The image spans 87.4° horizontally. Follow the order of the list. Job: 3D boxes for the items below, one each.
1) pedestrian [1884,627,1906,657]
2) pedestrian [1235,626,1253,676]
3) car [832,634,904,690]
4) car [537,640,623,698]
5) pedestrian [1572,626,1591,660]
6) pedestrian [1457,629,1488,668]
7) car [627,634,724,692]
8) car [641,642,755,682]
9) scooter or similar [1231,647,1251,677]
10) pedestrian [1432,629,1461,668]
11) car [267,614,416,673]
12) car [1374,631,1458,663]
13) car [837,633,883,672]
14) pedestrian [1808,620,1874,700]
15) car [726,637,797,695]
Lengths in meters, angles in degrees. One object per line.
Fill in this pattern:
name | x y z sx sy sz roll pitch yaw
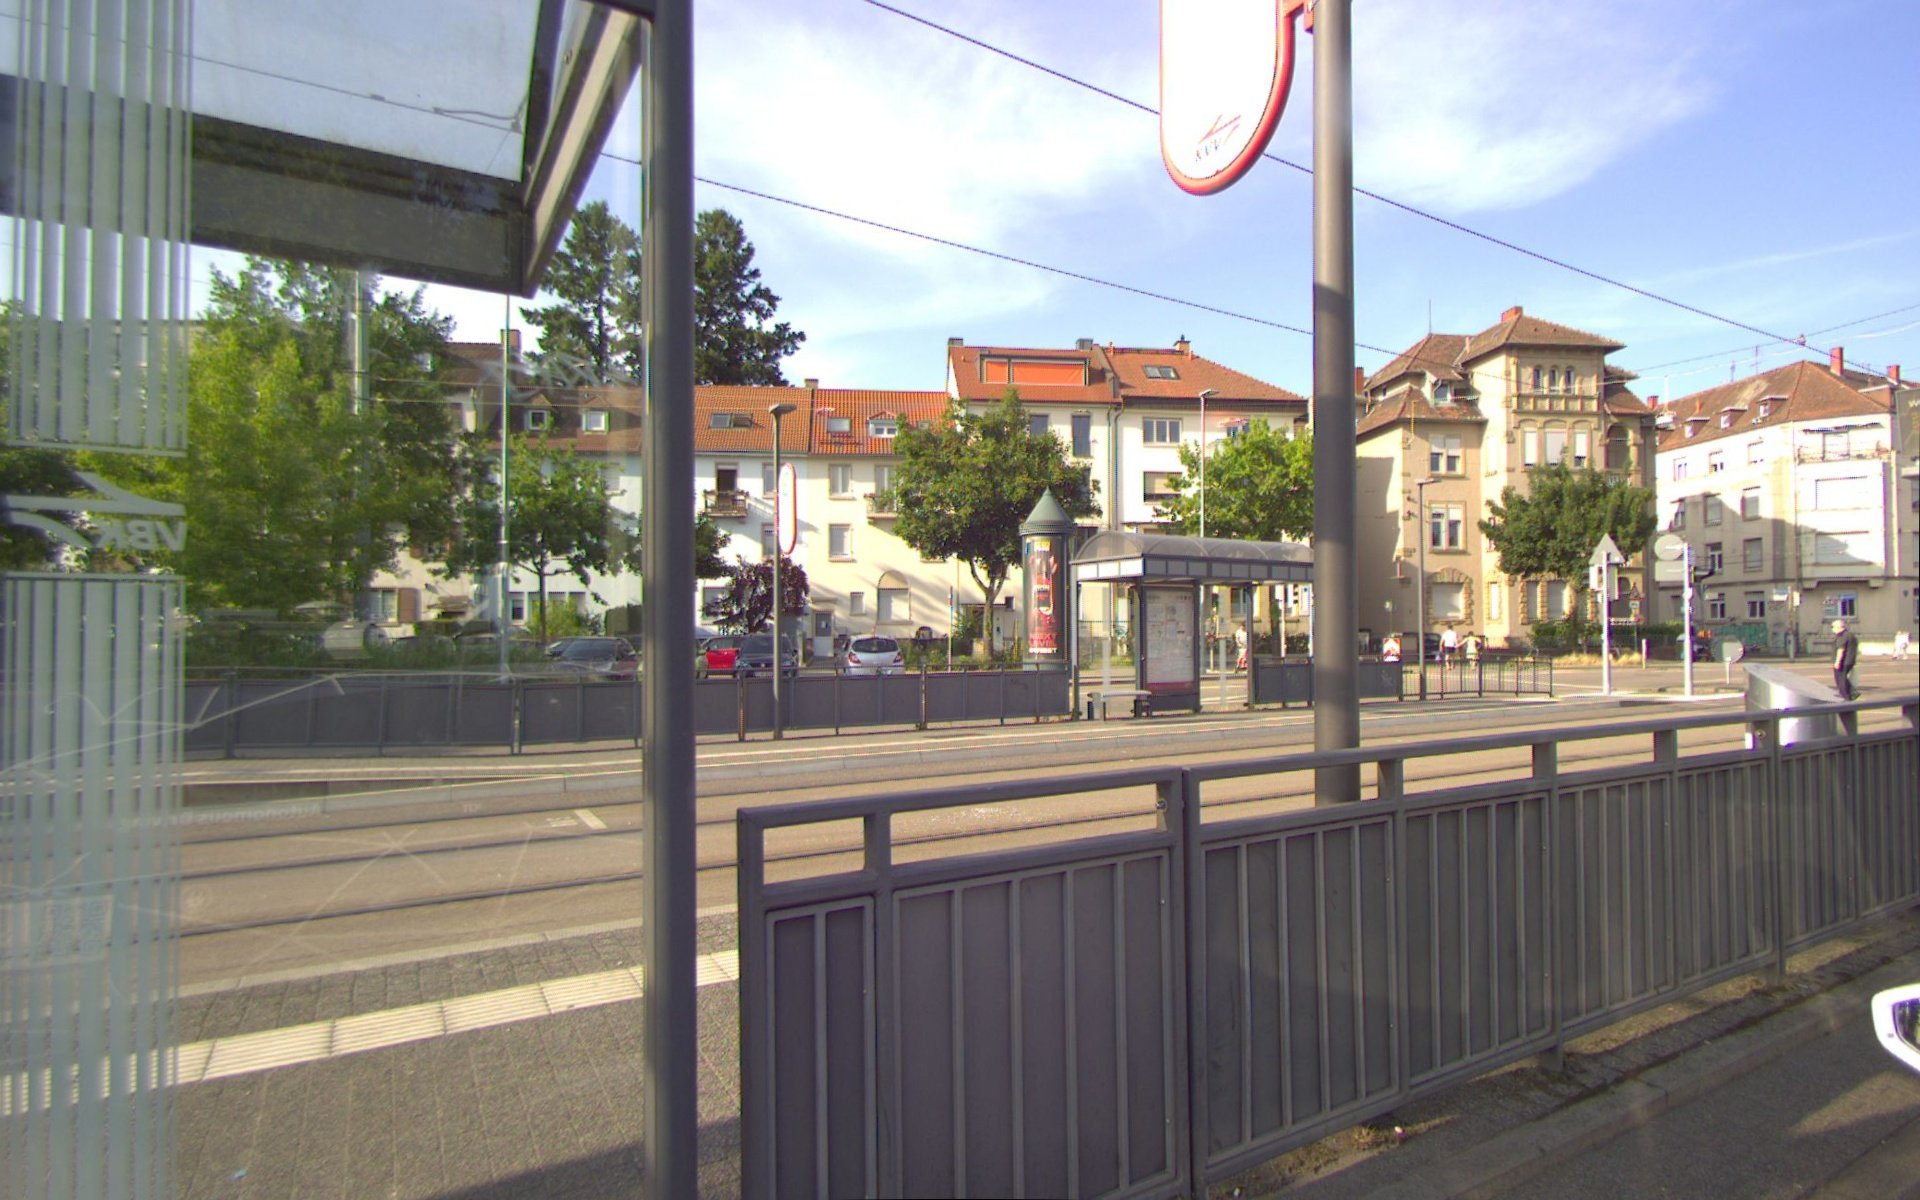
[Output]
pedestrian | 47.952 2.155 51.539 0.702 1.561 0.626 1 -2 -31
pedestrian | 10.082 1.799 35.660 0.538 1.769 0.763 -1 -2 19
car | -2.708 1.737 28.893 1.815 1.505 3.995 0 -2 -9
car | -10.231 1.816 27.261 1.968 1.416 3.985 0 -2 -18
pedestrian | 28.103 1.923 45.405 0.540 1.520 0.437 0 -2 -16
pedestrian | 20.910 1.987 41.010 0.768 1.572 0.831 0 -2 -8
car | -7.918 1.732 28.297 1.813 1.505 3.999 0 -2 -3
car | -9.645 2.274 37.259 3.927 1.416 1.836 0 -2 -9
scooter or similar | 9.735 2.132 34.812 0.547 1.001 1.023 -1 -2 23
pedestrian | 20.274 2.018 41.866 0.768 1.572 0.831 0 -2 -8
car | -17.005 1.205 27.858 1.813 1.505 3.999 0 -2 -3
car | 21.873 2.243 48.375 1.732 1.327 4.111 1 0 -8
car | -4.534 2.344 45.256 1.963 1.684 3.997 0 -2 -7
pedestrian | 18.900 1.274 21.575 0.778 1.667 0.757 -1 -2 16
car | -5.521 1.810 28.329 1.815 1.505 3.995 0 -2 -9
